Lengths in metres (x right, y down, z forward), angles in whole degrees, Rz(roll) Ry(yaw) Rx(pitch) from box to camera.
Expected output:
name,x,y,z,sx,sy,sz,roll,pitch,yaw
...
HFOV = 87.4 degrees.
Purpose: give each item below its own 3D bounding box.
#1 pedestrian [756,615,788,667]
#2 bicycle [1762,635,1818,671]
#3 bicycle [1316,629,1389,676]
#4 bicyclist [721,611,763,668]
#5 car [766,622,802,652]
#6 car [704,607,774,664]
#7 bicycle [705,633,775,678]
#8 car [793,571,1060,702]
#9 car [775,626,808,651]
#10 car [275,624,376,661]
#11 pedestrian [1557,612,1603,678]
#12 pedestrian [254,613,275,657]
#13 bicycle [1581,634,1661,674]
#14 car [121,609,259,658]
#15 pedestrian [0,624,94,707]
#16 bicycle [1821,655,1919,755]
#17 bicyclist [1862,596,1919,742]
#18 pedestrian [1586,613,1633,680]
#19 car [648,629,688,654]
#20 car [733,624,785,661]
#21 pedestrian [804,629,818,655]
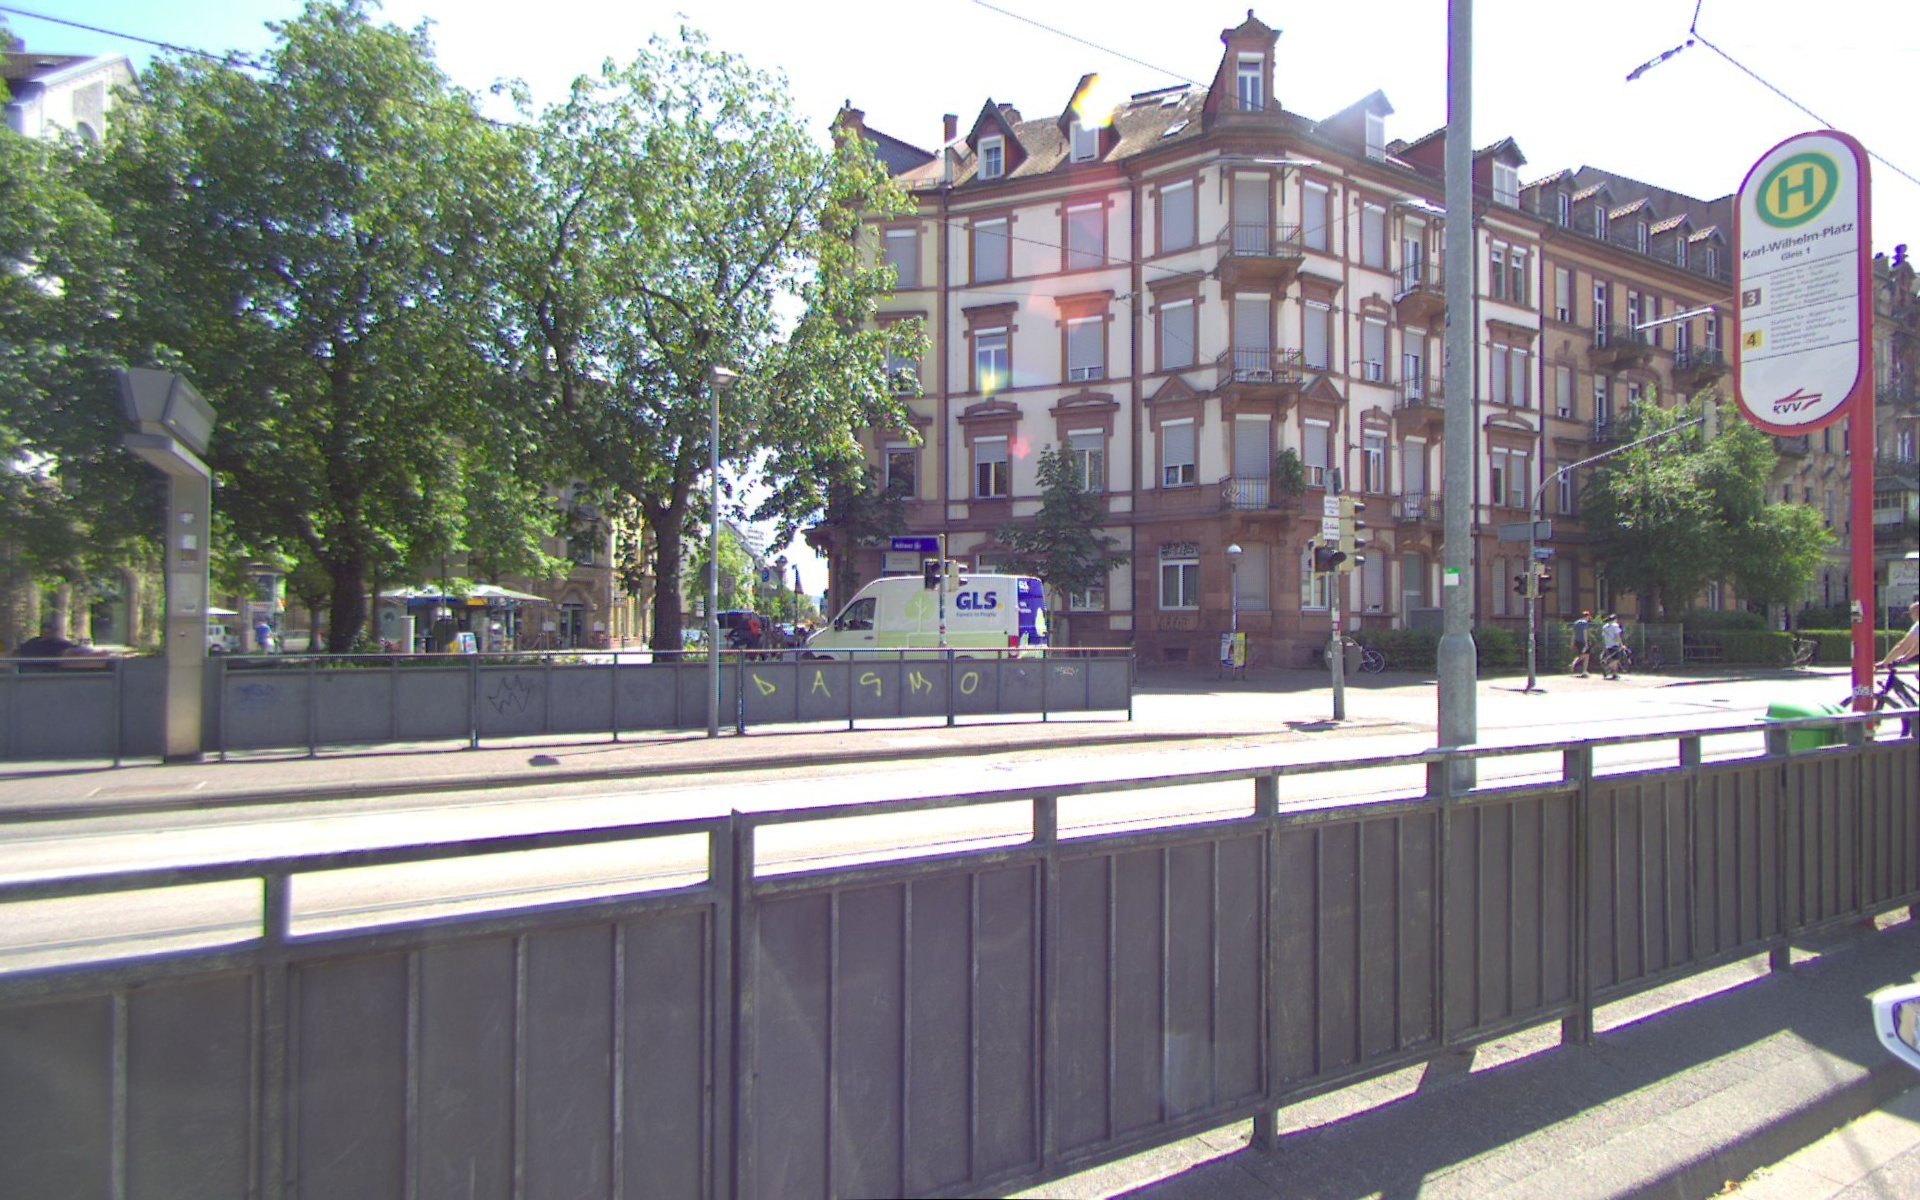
name,x,y,z,sx,sy,sz,roll,pitch,yaw
pedestrian,-6.287,1.376,33.584,1.043,1.712,0.721,0,-1,-12
bicycle,28.514,1.794,34.502,2.750,1.151,0.930,2,0,-39
bicycle,11.665,1.550,29.865,1.923,1.312,0.564,2,0,11
bicyclist,-6.185,1.109,28.513,0.881,1.582,0.722,1,-1,23
car,-10.375,2.166,59.454,1.684,1.617,3.998,2,0,-4
car,-8.329,1.291,38.218,1.962,1.970,3.998,2,0,-4
bicycle,-6.253,1.575,28.573,1.890,1.188,0.648,1,-1,23
car,-0.804,0.755,23.078,5.719,2.708,2.272,1,-1,26
car,-12.486,2.831,74.758,1.962,1.617,3.998,2,0,-4
car,-32.077,2.150,50.890,3.920,1.730,1.761,2,0,-14
pedestrian,18.033,1.289,29.210,0.863,1.847,0.812,0,1,-28
pedestrian,-27.465,1.378,39.658,0.506,1.692,0.491,0,-1,-8
bicycle,20.228,1.638,30.719,2.742,1.151,0.932,2,0,-31
car,-31.190,1.359,40.815,3.932,1.814,1.994,2,0,-14
pedestrian,-14.659,1.038,16.106,0.925,1.261,0.860,2,0,-24
bicycle,10.933,1.195,11.346,0.688,1.070,1.761,1,-1,-15
bicyclist,10.938,0.772,11.372,0.688,1.613,0.847,1,-1,-15
pedestrian,18.475,1.293,28.580,0.863,1.847,0.812,0,1,-28
car,-20.662,2.905,71.164,1.846,1.617,3.998,2,0,-4
car,-9.627,2.001,48.290,1.893,1.541,3.998,2,0,-4
pedestrian,-9.324,2.622,62.977,0.790,1.632,0.731,0,-1,-4
